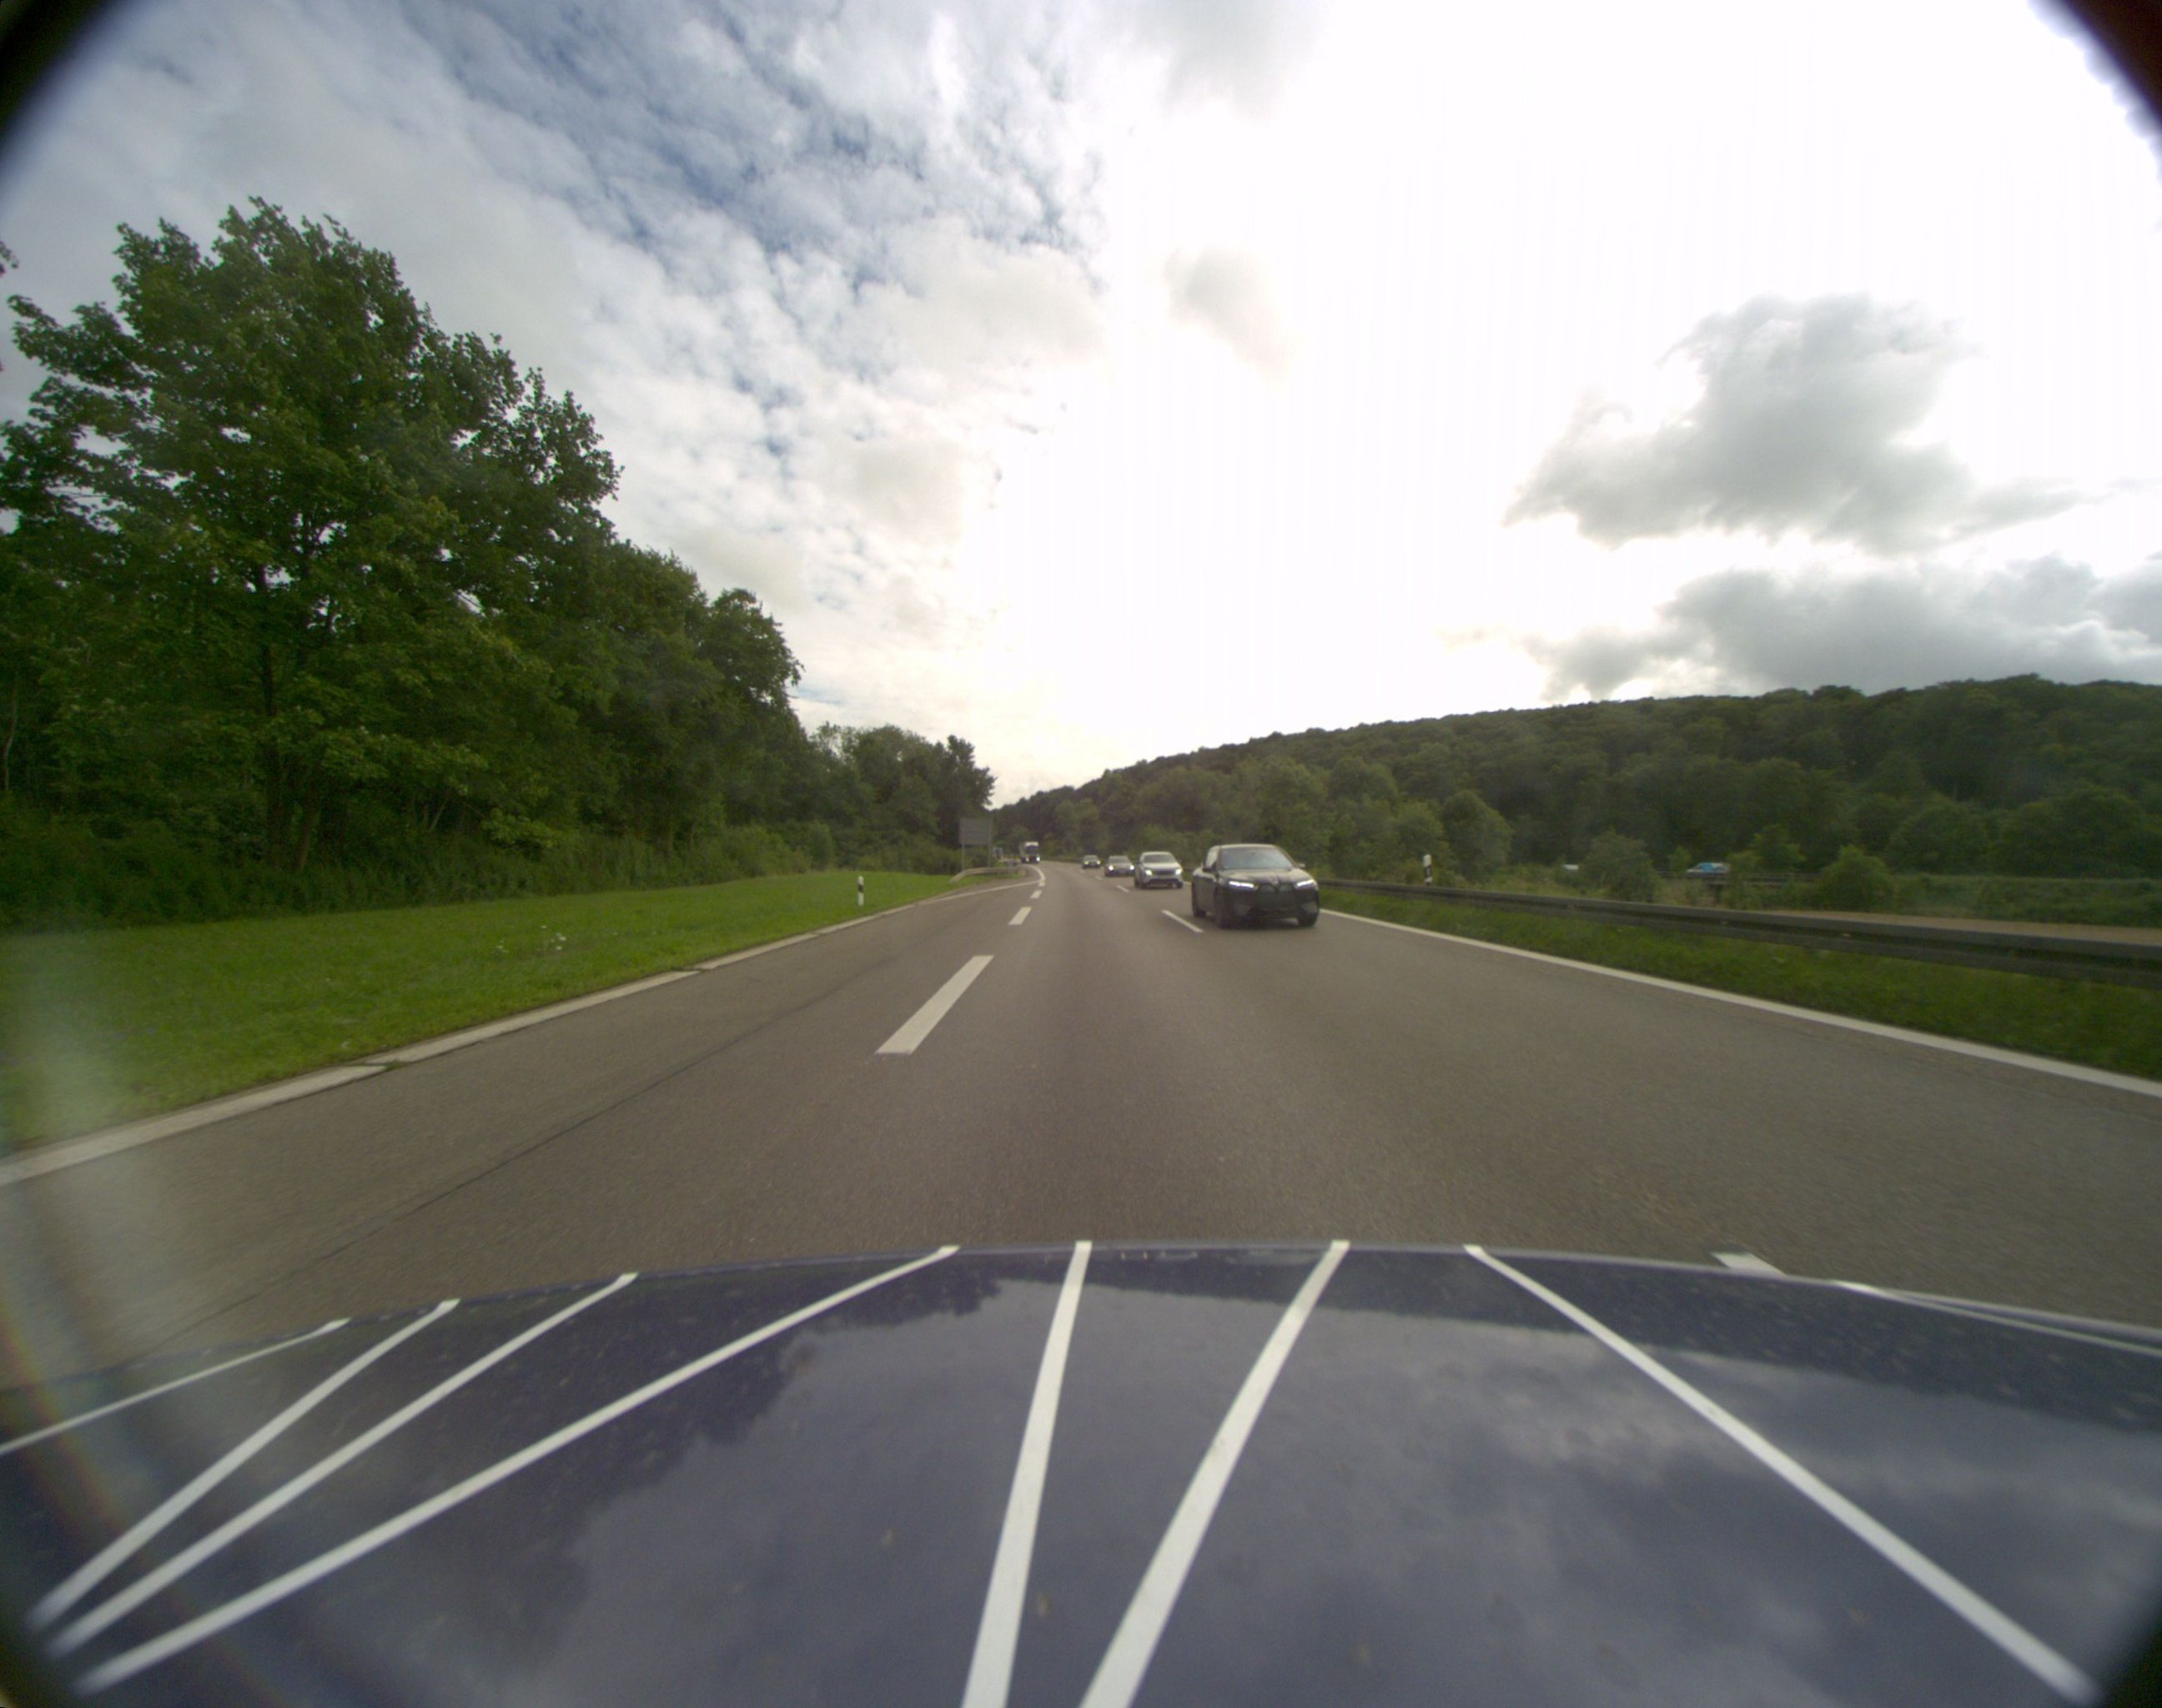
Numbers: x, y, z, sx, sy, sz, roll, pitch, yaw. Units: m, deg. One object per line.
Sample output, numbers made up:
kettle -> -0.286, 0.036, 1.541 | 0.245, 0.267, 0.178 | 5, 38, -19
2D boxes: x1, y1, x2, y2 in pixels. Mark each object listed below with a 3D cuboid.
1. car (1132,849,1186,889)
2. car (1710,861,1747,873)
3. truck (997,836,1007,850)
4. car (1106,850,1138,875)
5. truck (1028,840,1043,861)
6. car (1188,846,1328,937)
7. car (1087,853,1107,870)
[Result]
car -> 3.564, 0.635, 35.386 | 1.999, 1.656, 4.413 | -1, 1, -1
car -> 109.821, 2.197, 128.869 | 2.005, 1.798, 4.444 | 3, 1, -43
truck -> -23.512, -3.283, 226.101 | 2.797, 3.949, 5.935 | -1, 1, -7
car -> 2.930, 0.568, 55.081 | 1.999, 1.656, 4.413 | -1, 1, -1
truck -> -8.522, -0.709, 142.819 | 2.796, 3.949, 5.937 | -1, 1, -3
car -> 3.644, 0.686, 16.500 | 1.998, 1.656, 4.414 | -2, 1, 0
car -> 1.693, 0.767, 80.937 | 1.999, 1.656, 4.413 | 0, 2, -1
